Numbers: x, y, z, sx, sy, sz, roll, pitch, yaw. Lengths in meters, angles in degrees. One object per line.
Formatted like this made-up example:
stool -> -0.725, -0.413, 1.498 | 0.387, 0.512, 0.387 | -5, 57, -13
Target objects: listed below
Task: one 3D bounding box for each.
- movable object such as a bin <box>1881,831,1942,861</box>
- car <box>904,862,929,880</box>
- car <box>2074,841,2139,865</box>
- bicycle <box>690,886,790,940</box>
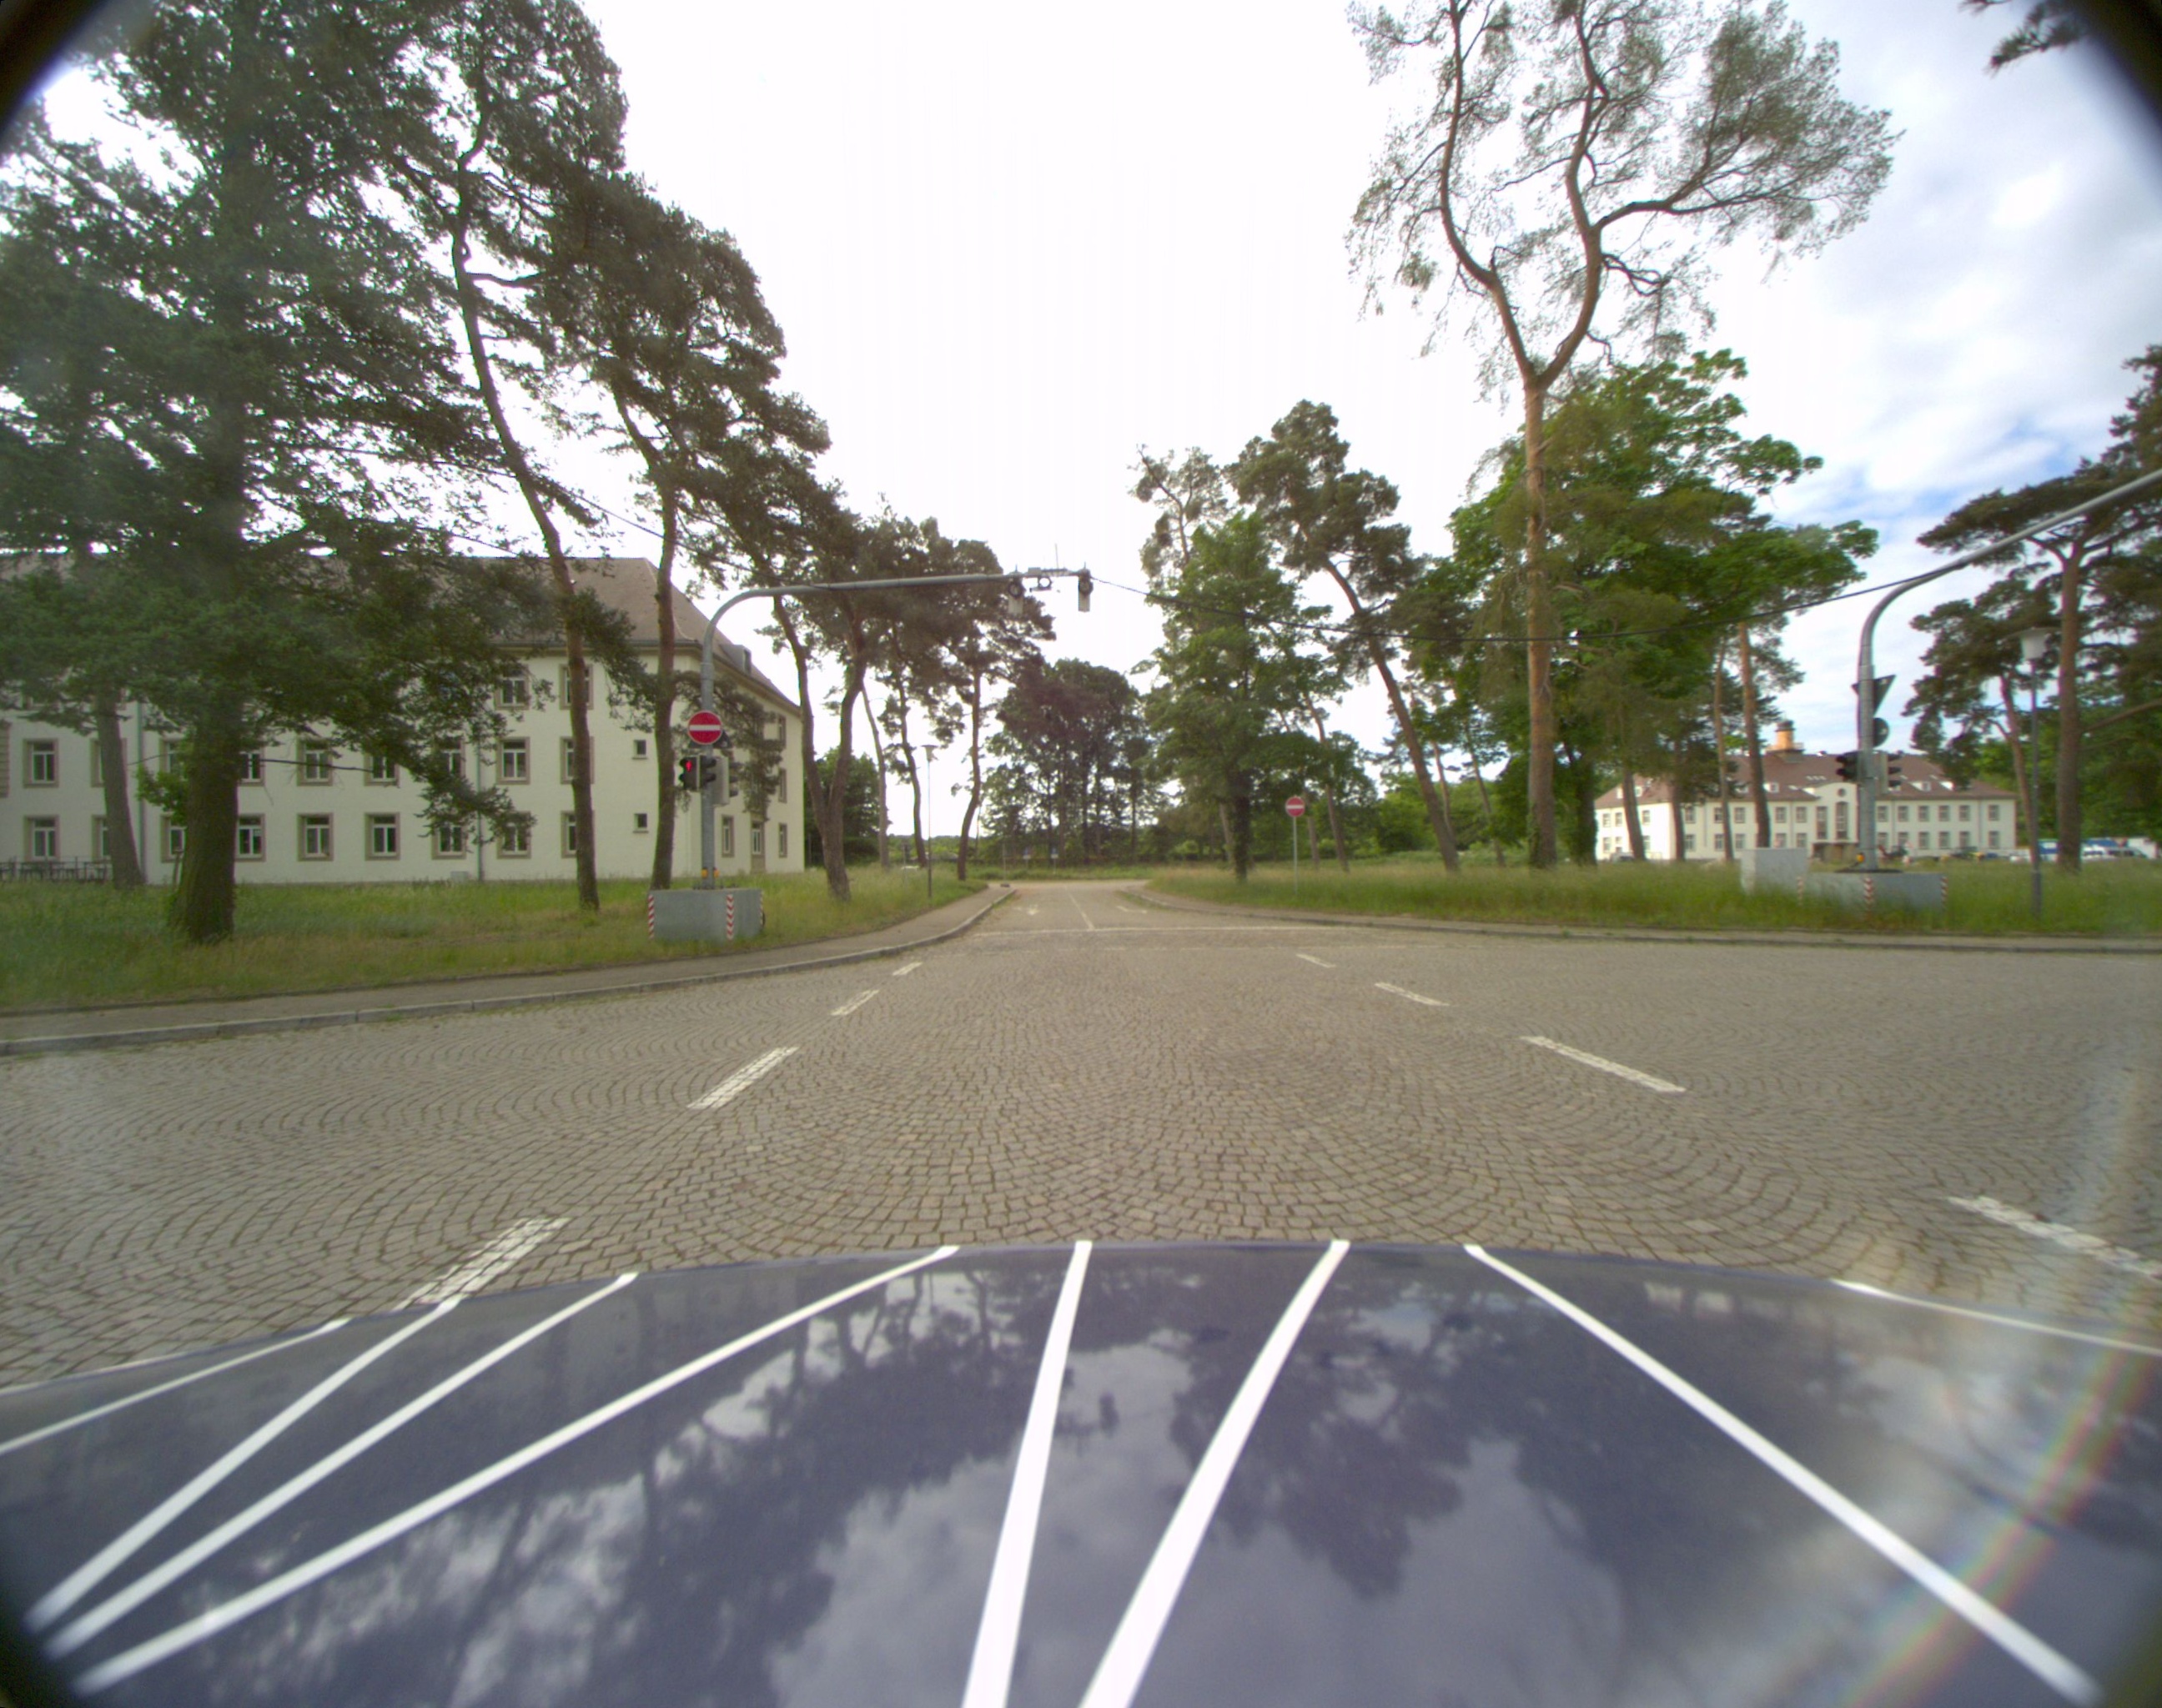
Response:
movable object such as a bin -> 109.744, -0.992, 100.472 | 2.051, 3.747, 5.465 | -1, -1, 2
car -> -13.942, 1.465, 64.489 | 1.487, 1.428, 3.196 | -1, -1, -1
car -> 108.101, -0.068, 80.104 | 4.445, 2.350, 1.863 | -1, -1, -2
bicycle -> -6.599, 1.137, 14.748 | 1.676, 0.965, 0.582 | 1, 2, 2
